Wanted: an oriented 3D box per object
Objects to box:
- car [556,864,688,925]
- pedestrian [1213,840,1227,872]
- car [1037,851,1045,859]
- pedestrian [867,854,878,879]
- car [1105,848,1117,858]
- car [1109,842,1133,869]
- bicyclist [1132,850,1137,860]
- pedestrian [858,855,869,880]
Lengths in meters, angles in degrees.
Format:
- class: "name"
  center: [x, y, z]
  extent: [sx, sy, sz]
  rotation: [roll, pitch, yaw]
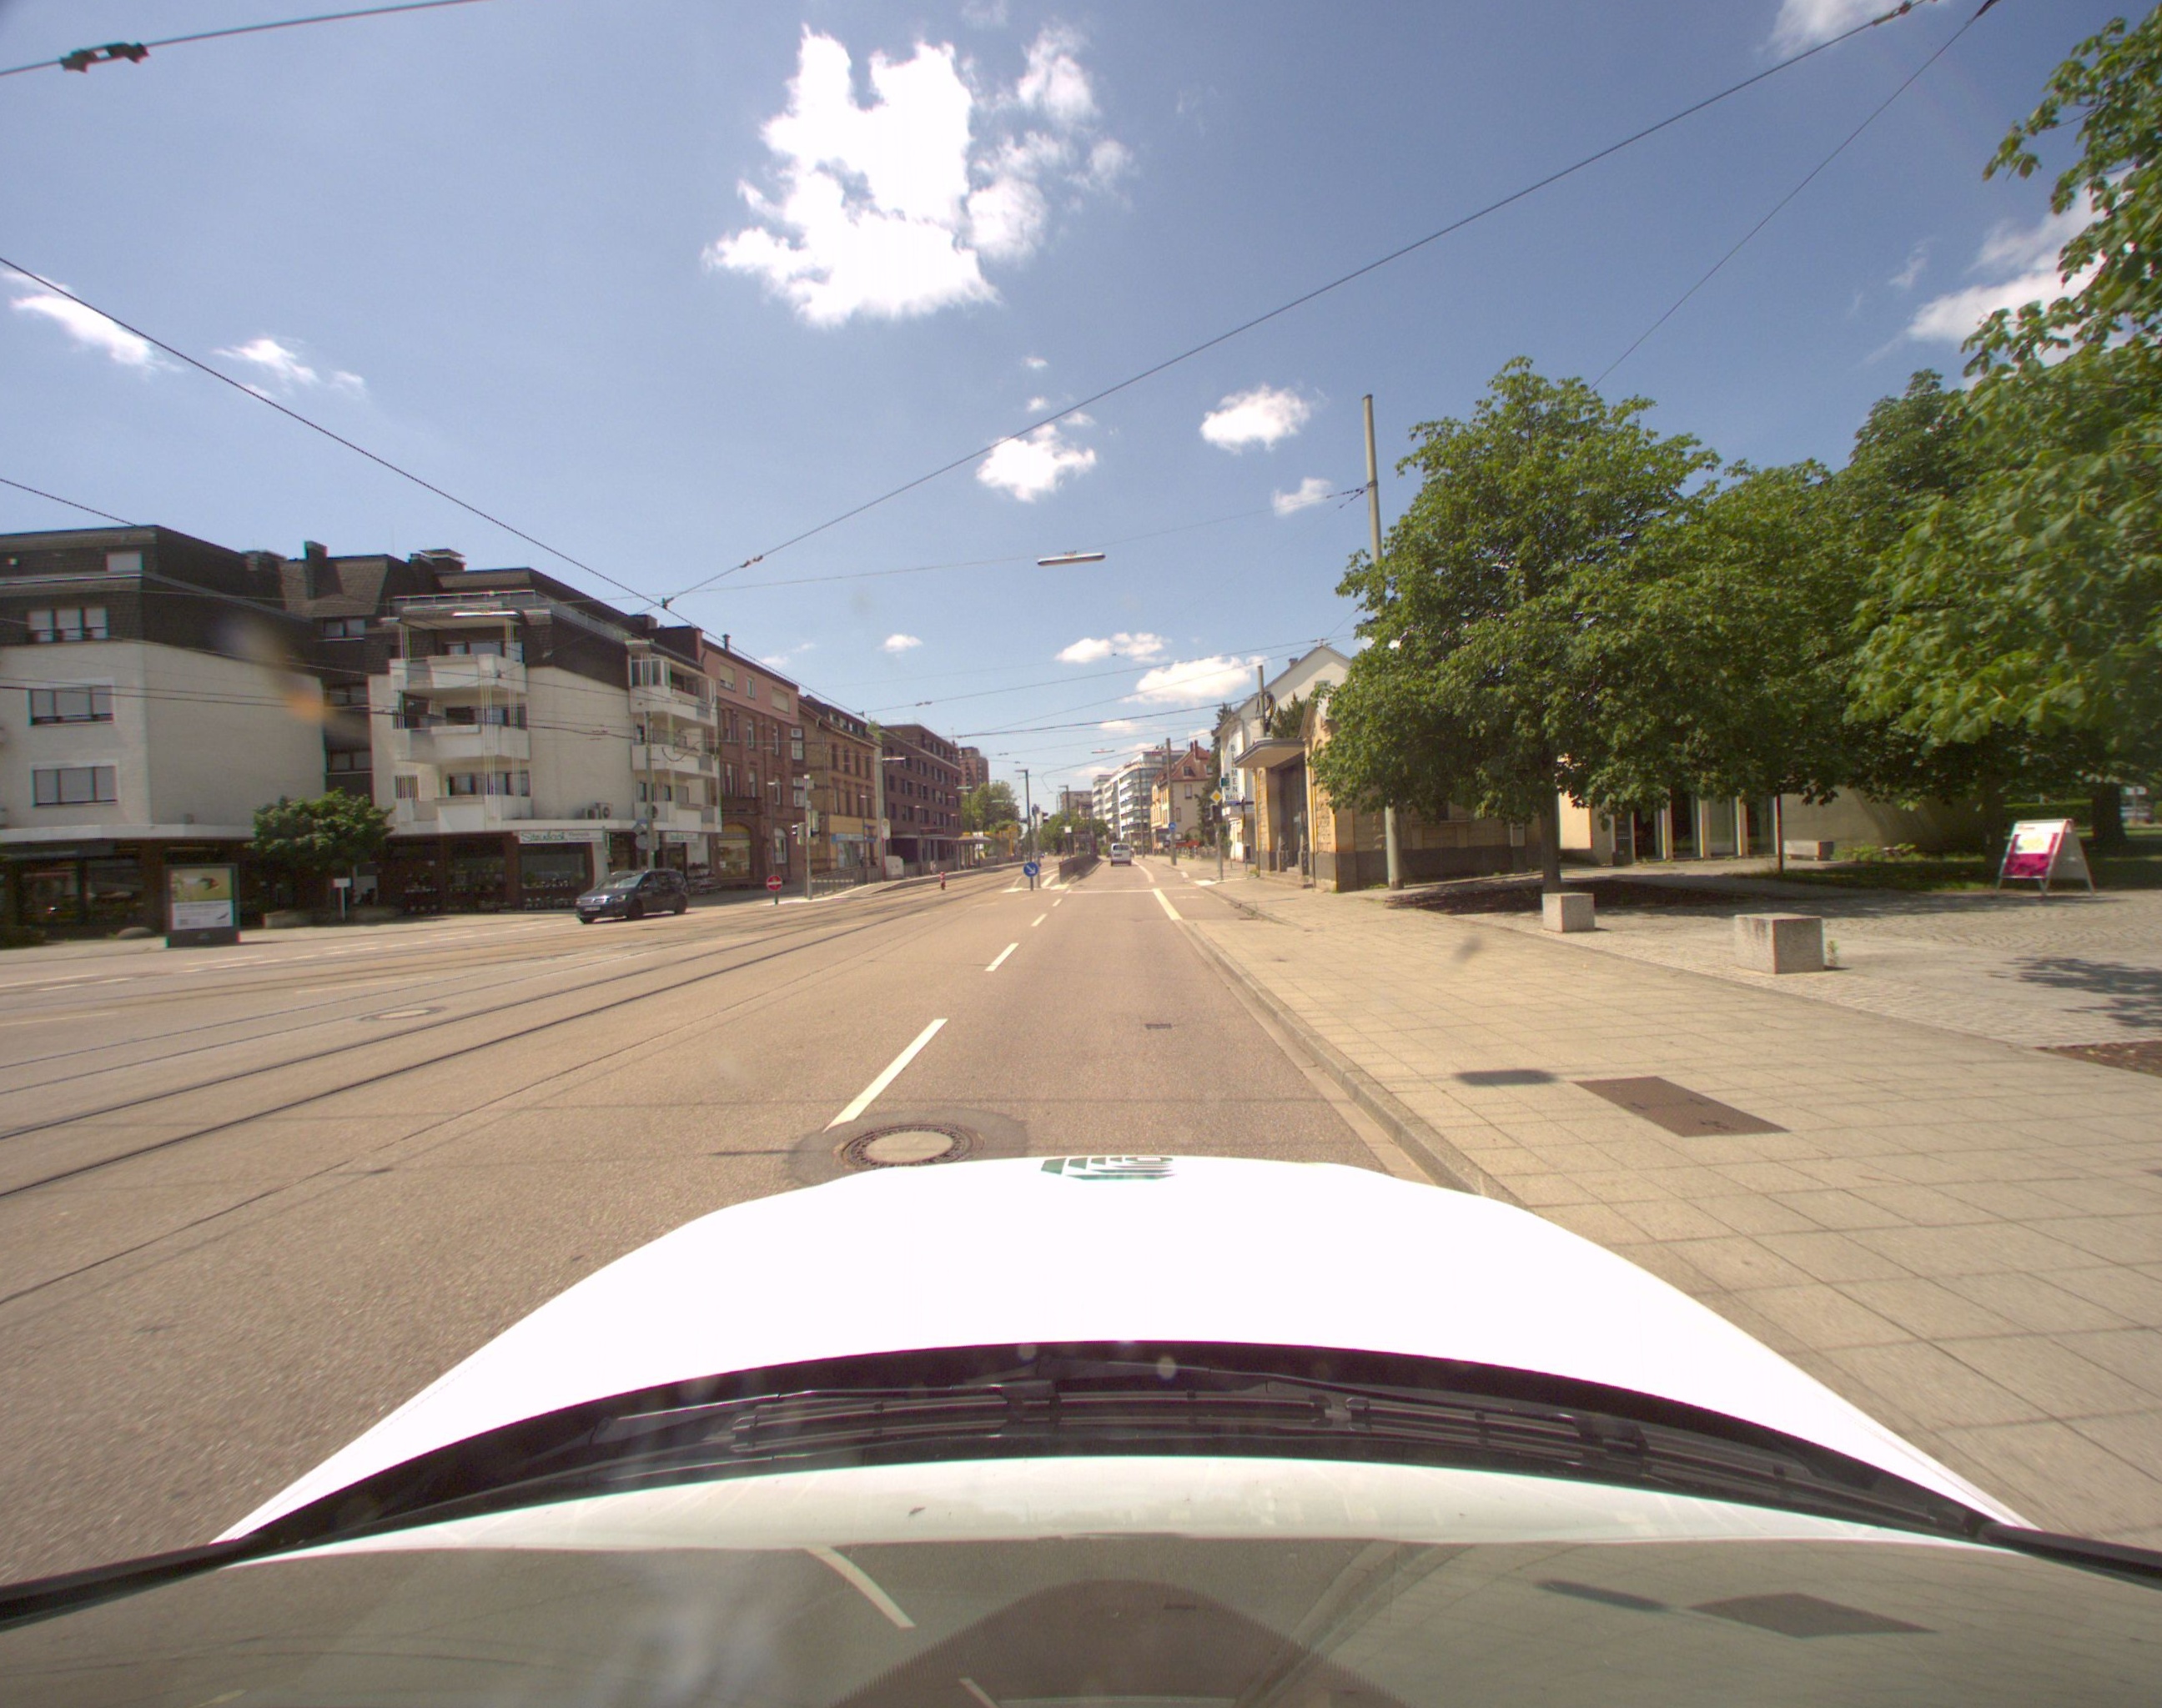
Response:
- class: "car"
  center: [-14.955, 1.259, 26.852]
  extent: [1.717, 1.683, 4.281]
  rotation: [-3, 0, 2]
- class: "pedestrian"
  center: [7.142, 0.094, 41.875]
  extent: [0.574, 1.556, 0.787]
  rotation: [-5, -1, 5]
- class: "car"
  center: [-9.943, 0.225, 201.159]
  extent: [1.696, 1.616, 3.750]
  rotation: [-6, -2, -6]
- class: "pedestrian"
  center: [-17.284, 1.027, 67.623]
  extent: [0.674, 2.014, 0.685]
  rotation: [-2, -1, 0]
- class: "car"
  center: [6.005, -0.200, 161.366]
  extent: [1.859, 1.687, 4.995]
  rotation: [-3, 0, -3]
- class: "car"
  center: [3.271, 0.069, 67.206]
  extent: [1.746, 2.013, 4.001]
  rotation: [-4, 1, 1]
- class: "bicyclist"
  center: [7.197, 0.152, 110.202]
  extent: [0.590, 1.397, 0.841]
  rotation: [-2, 0, -2]
- class: "pedestrian"
  center: [-18.045, 1.084, 67.563]
  extent: [0.615, 2.013, 0.810]
  rotation: [-3, 0, 0]
